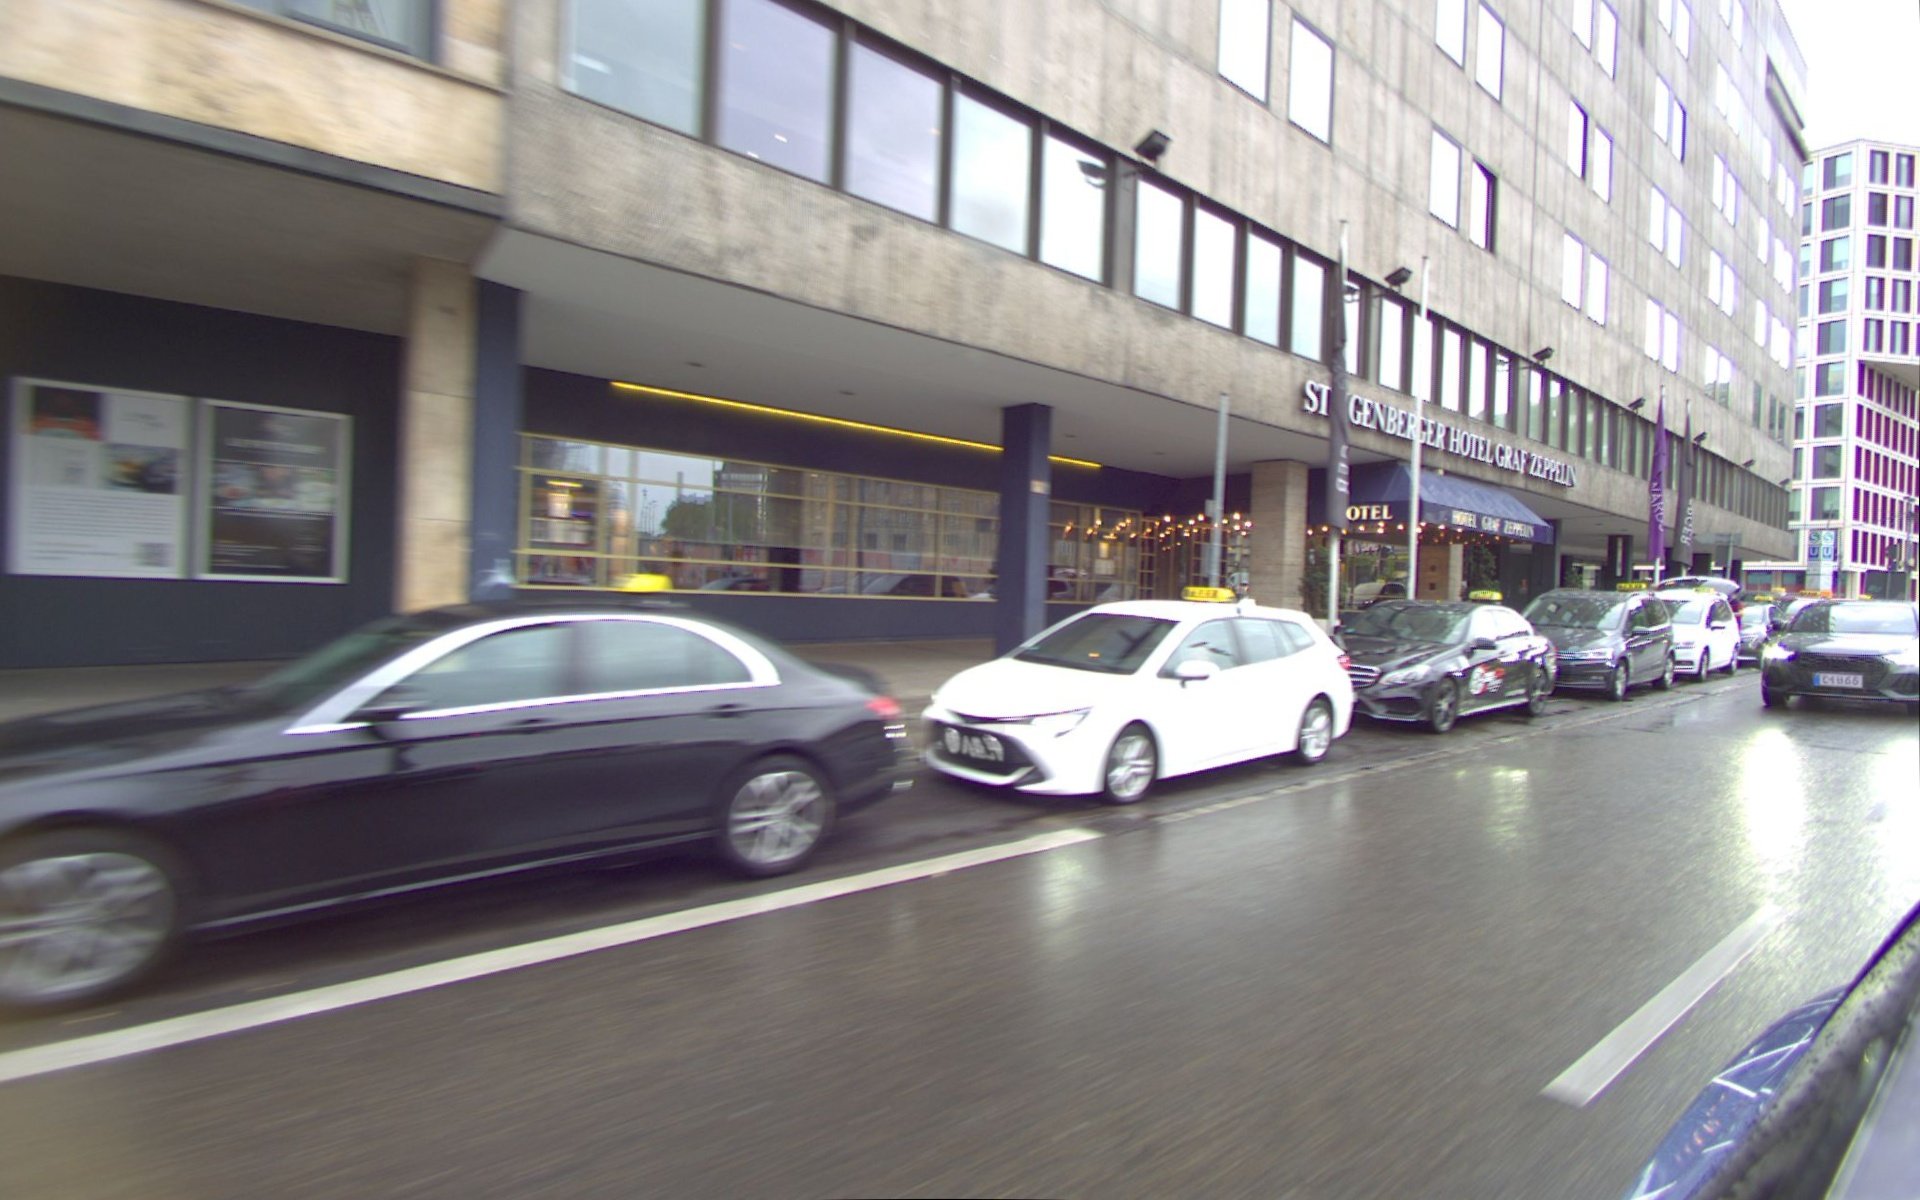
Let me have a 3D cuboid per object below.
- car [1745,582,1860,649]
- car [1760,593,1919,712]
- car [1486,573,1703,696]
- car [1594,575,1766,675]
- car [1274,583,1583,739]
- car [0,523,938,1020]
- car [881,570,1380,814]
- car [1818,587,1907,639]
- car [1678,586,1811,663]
[{"bbox_3d":[22.394,0.354,26.866,3.931,1.634,1.729,-1,0,-41],"label":"car"},{"bbox_3d":[13.608,0.672,15.041,4.266,1.520,1.882,-1,0,-40],"label":"car"},{"bbox_3d":[10.560,0.462,16.693,4.730,1.764,1.729,-1,0,-41],"label":"car"},{"bbox_3d":[14.370,0.409,20.095,4.730,1.764,1.729,-1,0,-41],"label":"car"},{"bbox_3d":[6.009,0.600,12.682,4.730,1.612,1.729,-1,0,-41],"label":"car"},{"bbox_3d":[-2.522,0.550,5.210,4.730,1.658,1.878,-1,0,-41],"label":"car"},{"bbox_3d":[1.723,0.581,8.904,4.730,1.612,1.729,-1,0,-41],"label":"car"},{"bbox_3d":[29.984,0.384,33.592,3.931,1.634,1.729,-1,0,-41],"label":"car"},{"bbox_3d":[18.406,0.507,23.700,3.931,1.634,1.729,-1,0,-41],"label":"car"}]
